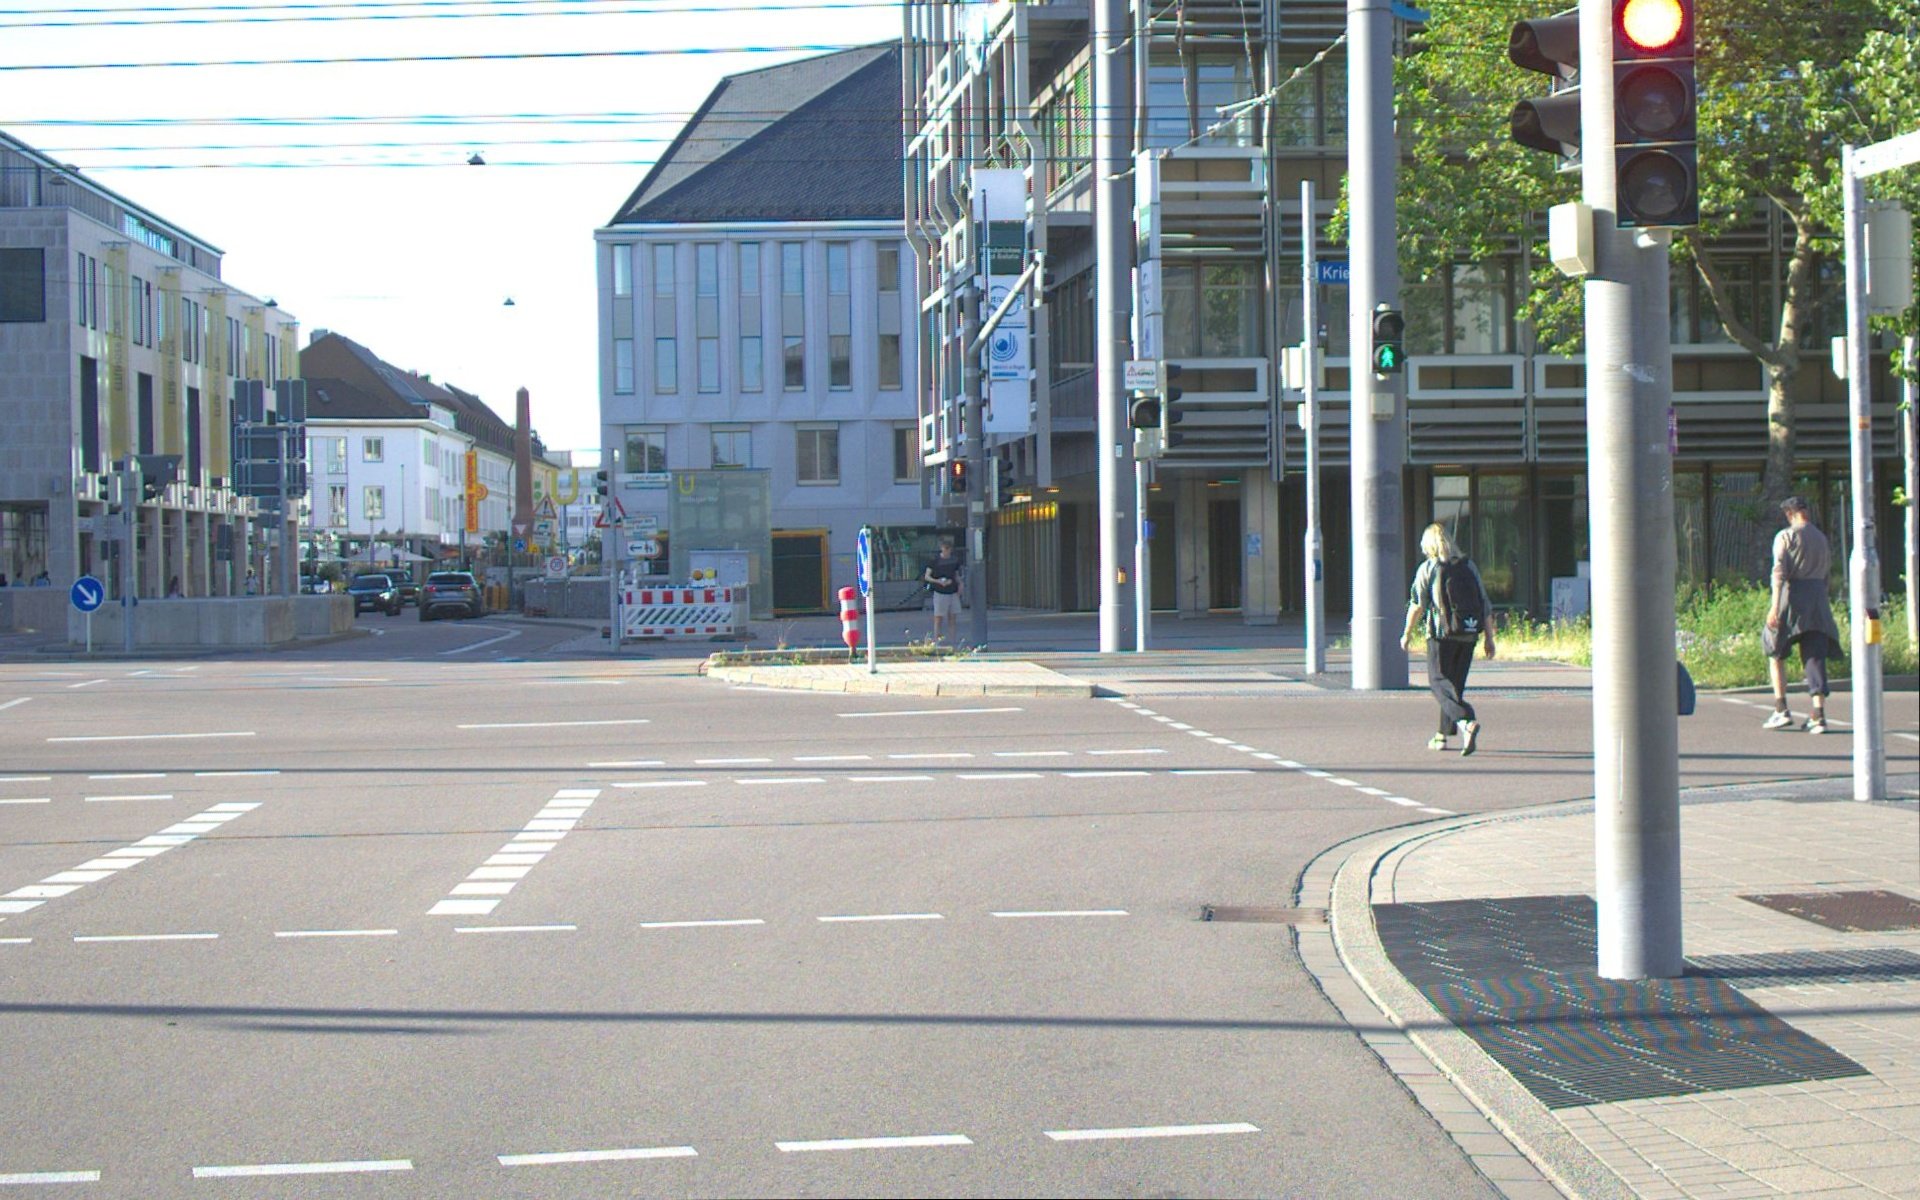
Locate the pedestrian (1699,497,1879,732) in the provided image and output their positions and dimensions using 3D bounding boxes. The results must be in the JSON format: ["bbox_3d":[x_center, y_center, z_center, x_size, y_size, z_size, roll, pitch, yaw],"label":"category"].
[{"bbox_3d":[5.998,0.102,24.912,0.878,1.659,0.965,1,0,-16],"label":"pedestrian"}]

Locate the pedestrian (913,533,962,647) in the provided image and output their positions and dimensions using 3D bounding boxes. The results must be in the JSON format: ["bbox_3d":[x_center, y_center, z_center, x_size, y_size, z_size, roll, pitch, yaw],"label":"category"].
[{"bbox_3d":[-0.372,-0.167,57.306,0.788,1.883,0.644,1,0,-1],"label":"pedestrian"}]

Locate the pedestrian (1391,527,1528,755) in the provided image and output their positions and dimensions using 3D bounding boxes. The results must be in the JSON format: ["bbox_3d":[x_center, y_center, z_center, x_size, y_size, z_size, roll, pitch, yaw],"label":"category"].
[{"bbox_3d":[3.319,0.268,22.898,0.788,1.487,0.644,1,0,-1],"label":"pedestrian"}]

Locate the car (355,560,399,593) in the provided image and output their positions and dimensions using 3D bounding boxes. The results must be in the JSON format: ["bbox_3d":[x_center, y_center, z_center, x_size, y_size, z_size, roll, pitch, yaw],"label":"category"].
[{"bbox_3d":[-29.849,-1.202,176.069,1.797,1.652,4.001,1,1,-4],"label":"car"}]

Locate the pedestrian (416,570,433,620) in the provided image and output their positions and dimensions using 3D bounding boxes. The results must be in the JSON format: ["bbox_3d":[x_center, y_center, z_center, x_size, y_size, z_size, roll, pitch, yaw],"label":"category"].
[{"bbox_3d":[-18.245,-0.178,117.099,0.521,1.674,0.583,1,1,-7],"label":"pedestrian"}]

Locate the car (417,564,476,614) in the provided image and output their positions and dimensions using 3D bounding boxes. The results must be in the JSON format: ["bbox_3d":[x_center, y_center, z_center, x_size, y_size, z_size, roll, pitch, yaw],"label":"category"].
[{"bbox_3d":[-16.149,-0.358,108.200,1.737,1.525,3.856,1,1,-7],"label":"car"}]

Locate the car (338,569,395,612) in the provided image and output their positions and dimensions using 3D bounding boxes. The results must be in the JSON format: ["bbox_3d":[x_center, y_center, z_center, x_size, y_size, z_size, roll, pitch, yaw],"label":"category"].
[{"bbox_3d":[-23.402,-0.396,135.655,1.797,1.652,4.001,1,1,-4],"label":"car"}]
